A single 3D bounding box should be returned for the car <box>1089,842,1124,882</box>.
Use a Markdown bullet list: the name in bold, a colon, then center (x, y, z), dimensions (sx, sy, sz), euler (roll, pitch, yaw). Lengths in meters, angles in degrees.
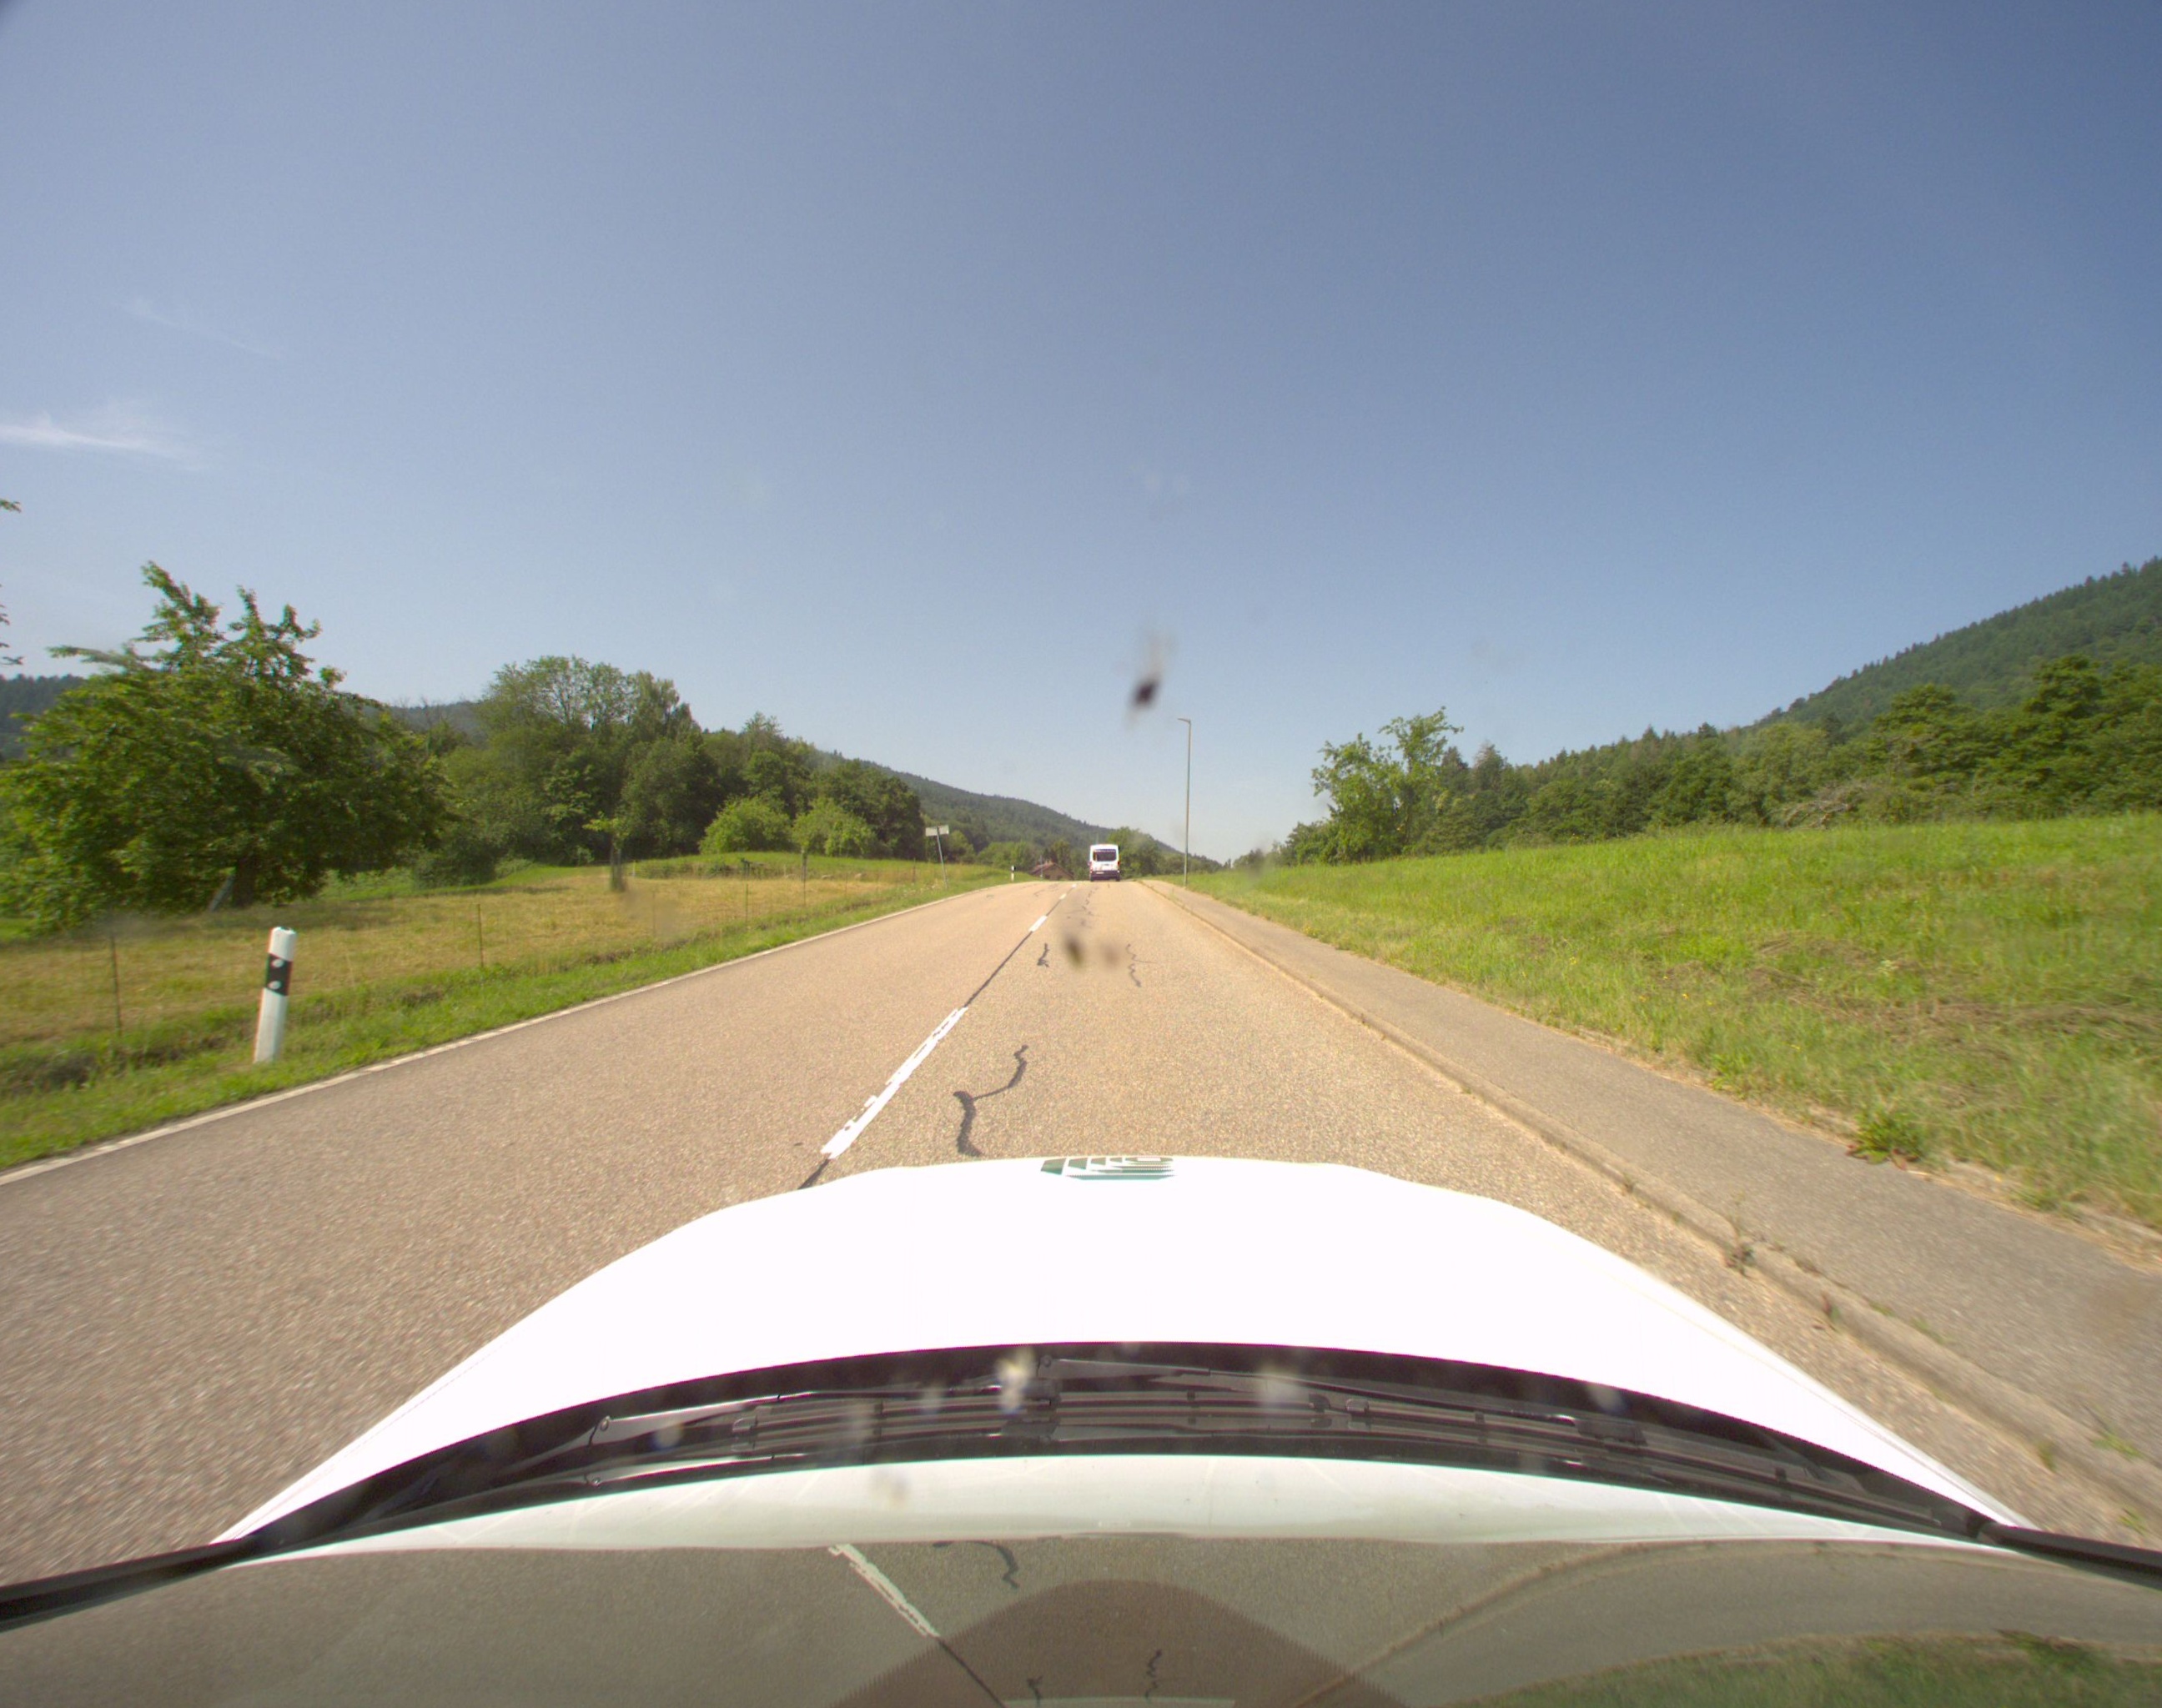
- **car**: center (1.716, 0.593, 56.143), dimensions (2.214, 2.526, 4.984), euler (-2, -2, 1)
